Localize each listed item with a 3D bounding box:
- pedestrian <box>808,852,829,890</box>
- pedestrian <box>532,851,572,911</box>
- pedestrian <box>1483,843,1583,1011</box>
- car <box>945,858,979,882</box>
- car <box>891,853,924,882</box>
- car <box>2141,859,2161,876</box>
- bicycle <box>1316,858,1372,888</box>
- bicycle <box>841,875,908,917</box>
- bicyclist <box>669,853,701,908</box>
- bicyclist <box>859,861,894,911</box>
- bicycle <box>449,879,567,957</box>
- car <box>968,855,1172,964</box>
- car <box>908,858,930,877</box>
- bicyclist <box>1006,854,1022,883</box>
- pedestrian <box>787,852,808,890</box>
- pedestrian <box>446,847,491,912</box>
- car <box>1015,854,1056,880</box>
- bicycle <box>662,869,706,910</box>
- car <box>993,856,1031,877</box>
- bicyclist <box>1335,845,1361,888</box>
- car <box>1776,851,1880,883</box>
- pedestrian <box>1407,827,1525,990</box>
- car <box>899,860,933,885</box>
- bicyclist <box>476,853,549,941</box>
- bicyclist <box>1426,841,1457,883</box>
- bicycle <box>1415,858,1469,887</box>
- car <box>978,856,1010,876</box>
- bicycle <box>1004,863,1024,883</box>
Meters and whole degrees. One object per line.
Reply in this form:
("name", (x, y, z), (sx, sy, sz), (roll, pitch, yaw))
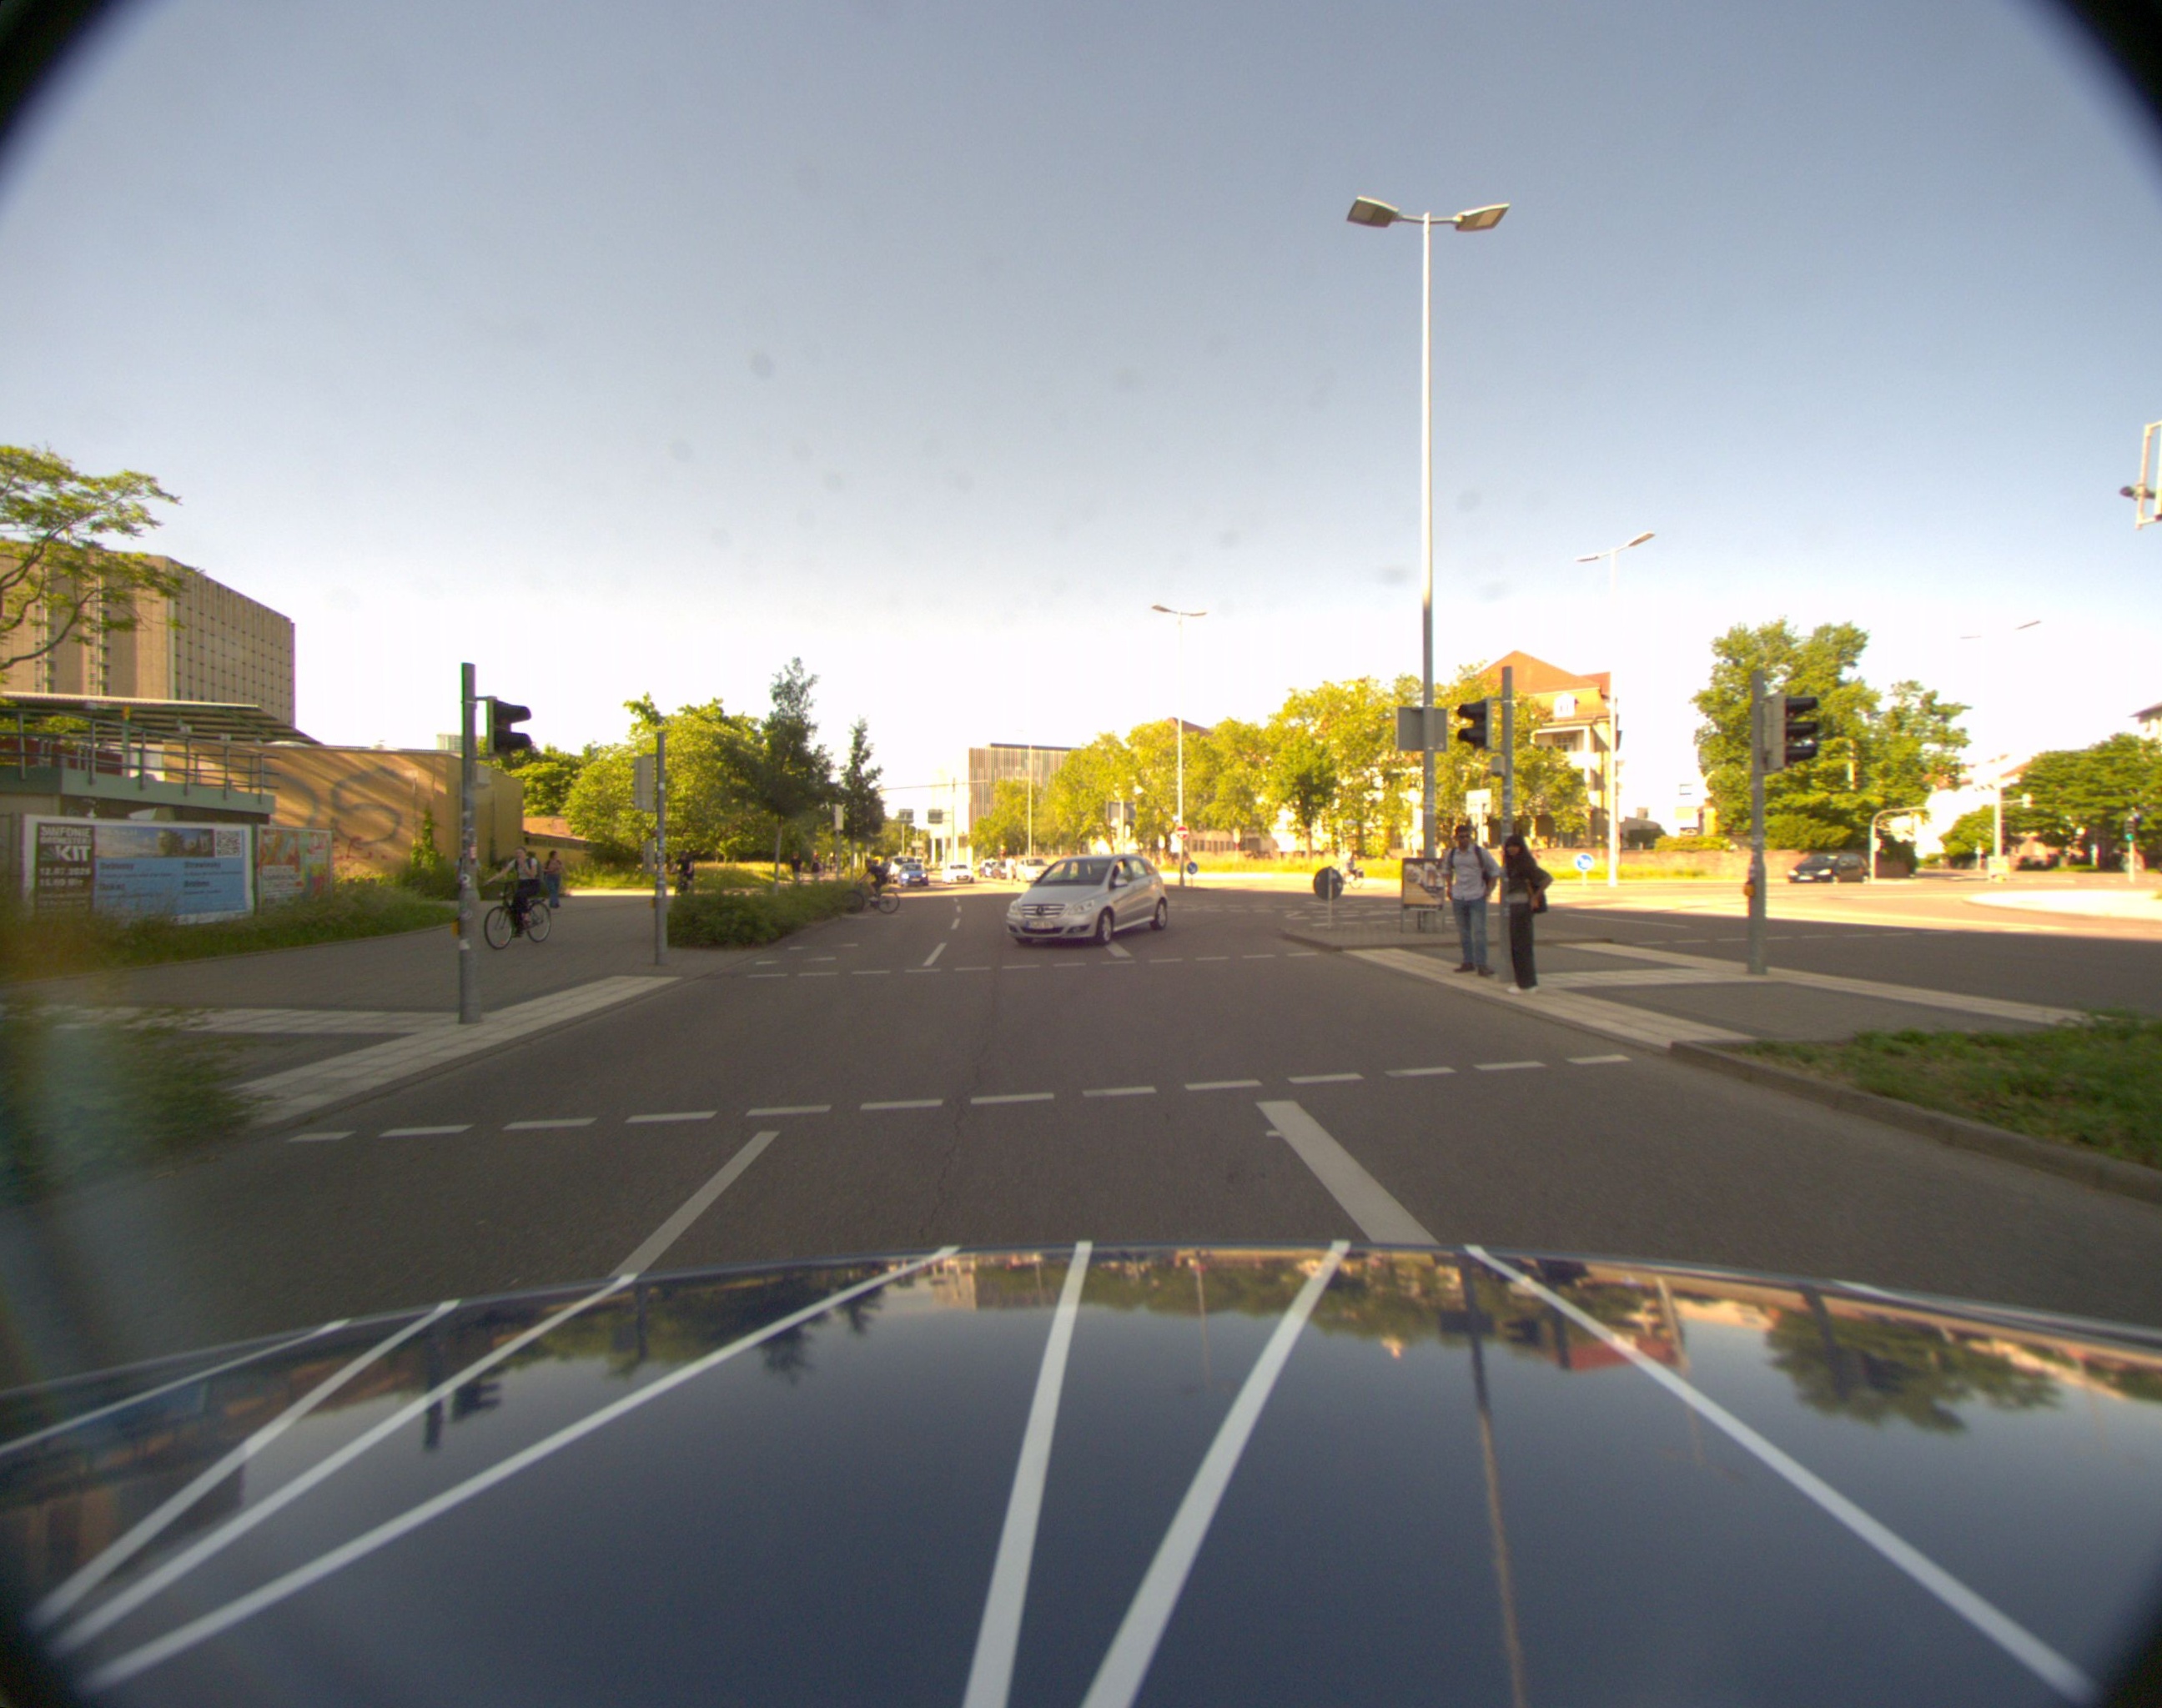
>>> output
("pedestrian", (-12.542, 0.805, 36.313), (0.731, 1.805, 0.736), (-1, -2, -3))
("pedestrian", (-14.713, 0.745, 21.133), (0.734, 1.633, 0.679), (-2, -2, 32))
("pedestrian", (4.533, 0.698, 7.663), (0.680, 1.603, 0.720), (-1, 1, 14))
("car", (-8.026, 1.040, 50.973), (2.001, 1.460, 3.995), (-1, 0, -12))
("car", (-12.365, 0.950, 54.011), (1.940, 1.941, 4.750), (-2, 0, -17))
("car", (113.606, 1.389, 78.788), (3.792, 1.805, 2.003), (0, 0, 22))
("bicycle", (10.289, 0.731, 29.727), (1.966, 1.158, 0.643), (0, -1, -1))
("bicycle", (-6.212, 1.246, 22.890), (1.872, 1.158, 0.642), (-2, 0, -21))
("bicyclist", (-11.958, 0.795, 22.977), (0.643, 1.635, 0.776), (0, 0, -11))
("bicyclist", (-6.169, 0.949, 22.910), (0.954, 1.436, 0.642), (-1, 0, -21))
("bicycle", (-9.669, 1.041, 12.917), (0.643, 1.158, 1.870), (1, 0, -2))
("car", (0.016, 0.867, 14.130), (1.767, 1.584, 4.646), (-1, 1, 27))
("car", (-17.764, 1.453, 83.250), (1.940, 1.941, 4.525), (-2, 0, -18))
("bicyclist", (-4.026, 0.875, 45.727), (0.747, 1.675, 0.976), (0, 1, -19))
("pedestrian", (-13.530, 0.832, 36.235), (0.731, 1.770, 0.736), (-1, -2, -3))
("pedestrian", (-15.842, 0.670, 19.658), (0.734, 1.633, 0.679), (-2, -2, 32))
("car", (-3.081, 0.836, 50.522), (1.791, 1.615, 4.310), (-2, 0, -17))
("bicycle", (-11.936, 1.045, 22.887), (0.643, 1.158, 1.868), (0, 0, -10))
("car", (-5.392, 0.944, 58.862), (1.985, 1.545, 4.717), (-2, 0, -17))
("bicyclist", (10.426, 0.491, 29.715), (0.776, 1.653, 0.643), (-1, 0, -1))
("car", (36.369, 0.613, 37.002), (4.302, 1.464, 1.997), (0, -2, -21))
("pedestrian", (4.612, 0.605, 9.108), (1.097, 1.822, 0.754), (-2, 1, -29))
("car", (-10.379, 1.129, 47.616), (1.706, 1.433, 3.994), (-2, 0, -17))
("bicyclist", (-9.658, 0.715, 12.930), (0.643, 1.436, 0.776), (1, 0, -3))
("bicyclist", (14.438, 0.315, 30.445), (0.777, 1.653, 0.784), (-1, 0, -21))
("bicycle", (14.465, 0.740, 30.453), (1.970, 1.158, 0.778), (0, -1, -21))
("car", (-7.655, 1.034, 66.347), (1.985, 1.545, 4.717), (-2, 0, -17))
("bicycle", (-4.059, 1.137, 45.823), (0.749, 1.158, 1.867), (0, 1, -19))
